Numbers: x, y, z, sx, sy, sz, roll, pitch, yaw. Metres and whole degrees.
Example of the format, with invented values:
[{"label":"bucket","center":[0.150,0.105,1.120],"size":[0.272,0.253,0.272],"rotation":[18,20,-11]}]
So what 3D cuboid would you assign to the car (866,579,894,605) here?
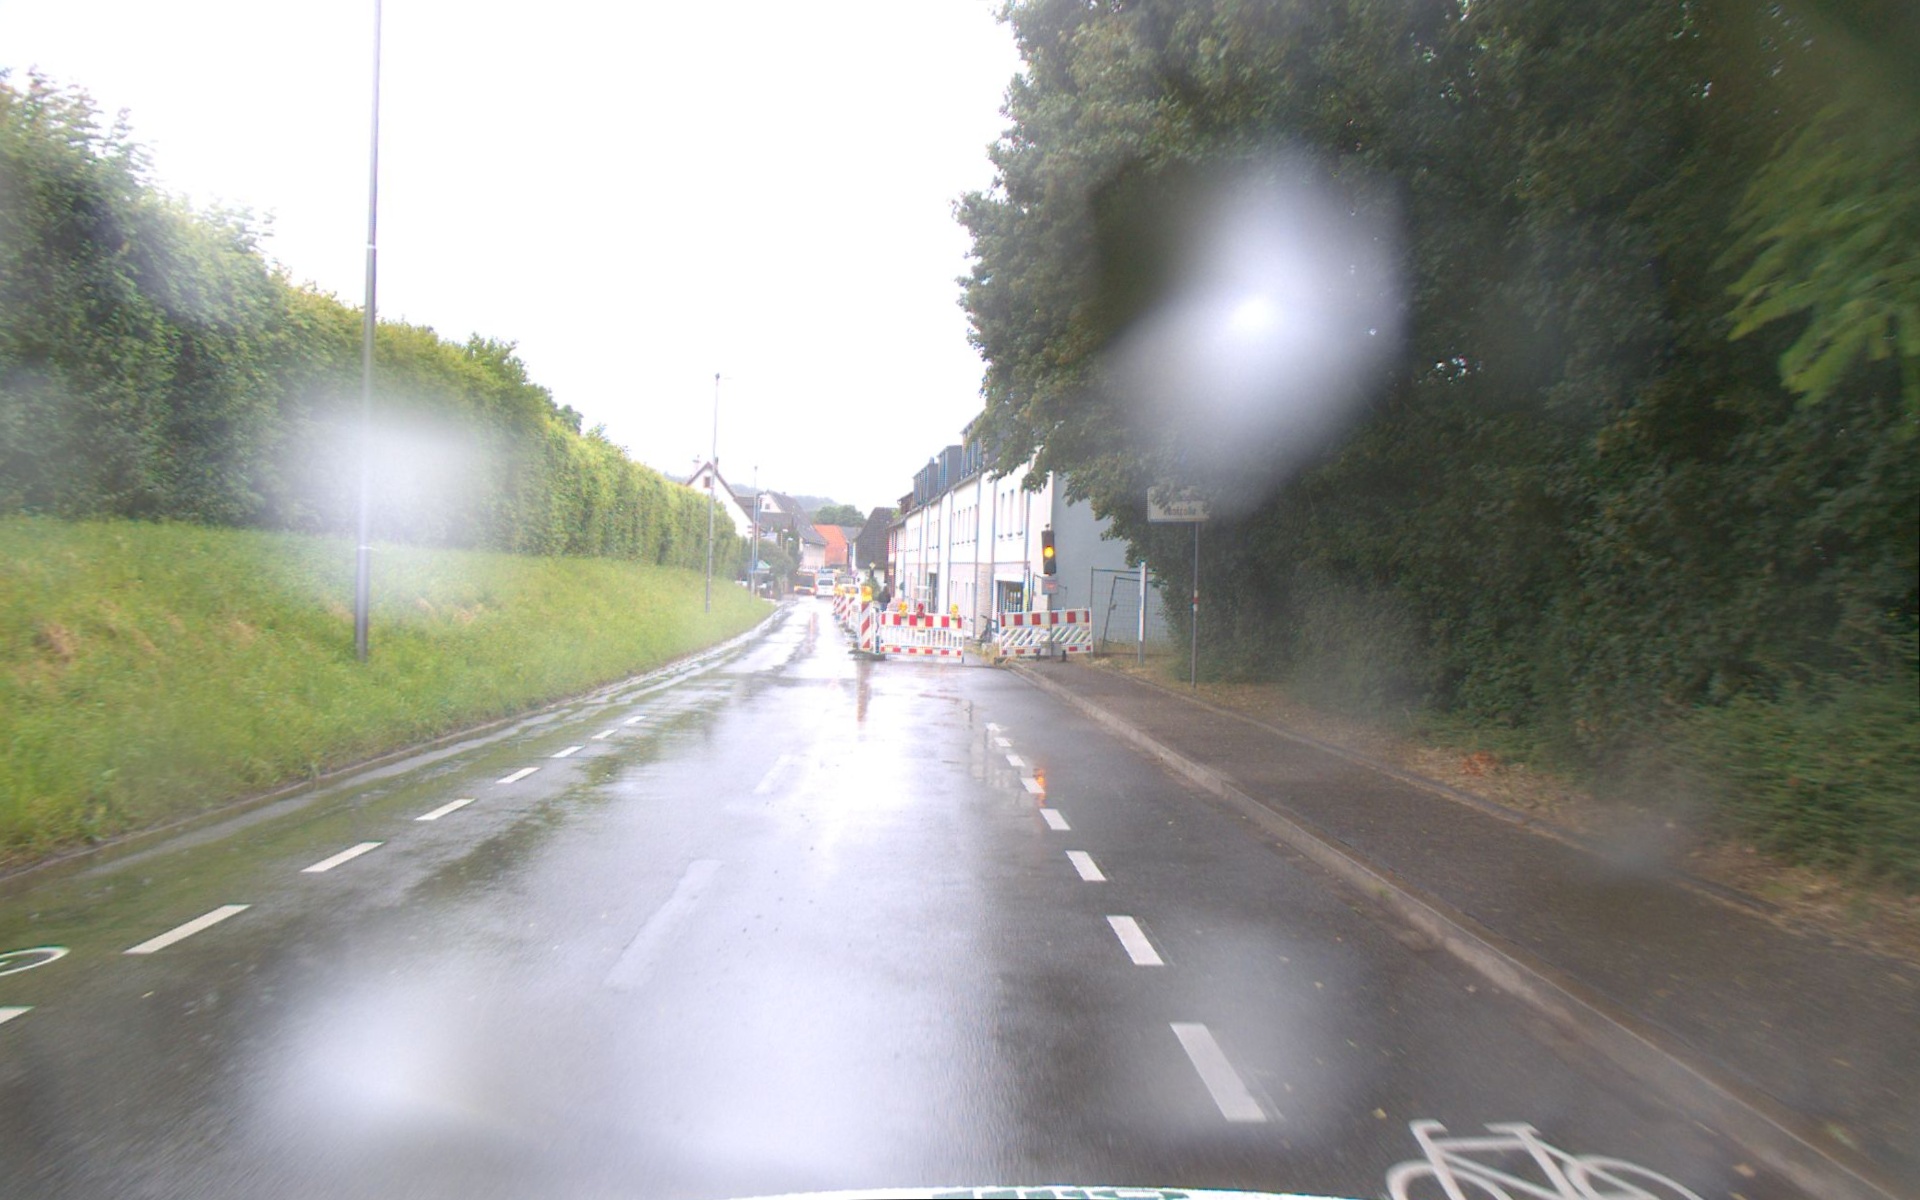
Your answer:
[{"label":"car","center":[-5.733,-0.599,118.534],"size":[1.867,1.803,3.883],"rotation":[-1,1,-5]}]

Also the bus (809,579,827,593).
[{"label":"bus","center":[-15.881,-1.556,185.090],"size":[1.759,1.434,3.998],"rotation":[3,0,-3]}]

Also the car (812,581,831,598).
[{"label":"car","center":[-13.813,-1.038,165.058],"size":[1.782,1.670,4.091],"rotation":[-1,1,-5]}]

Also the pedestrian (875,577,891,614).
[{"label":"pedestrian","center":[-3.746,-0.211,80.298],"size":[0.653,1.786,0.811],"rotation":[2,0,-7]}]

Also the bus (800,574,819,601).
[{"label":"bus","center":[-18.467,-1.543,202.939],"size":[2.198,3.157,7.022],"rotation":[0,0,-6]}]
